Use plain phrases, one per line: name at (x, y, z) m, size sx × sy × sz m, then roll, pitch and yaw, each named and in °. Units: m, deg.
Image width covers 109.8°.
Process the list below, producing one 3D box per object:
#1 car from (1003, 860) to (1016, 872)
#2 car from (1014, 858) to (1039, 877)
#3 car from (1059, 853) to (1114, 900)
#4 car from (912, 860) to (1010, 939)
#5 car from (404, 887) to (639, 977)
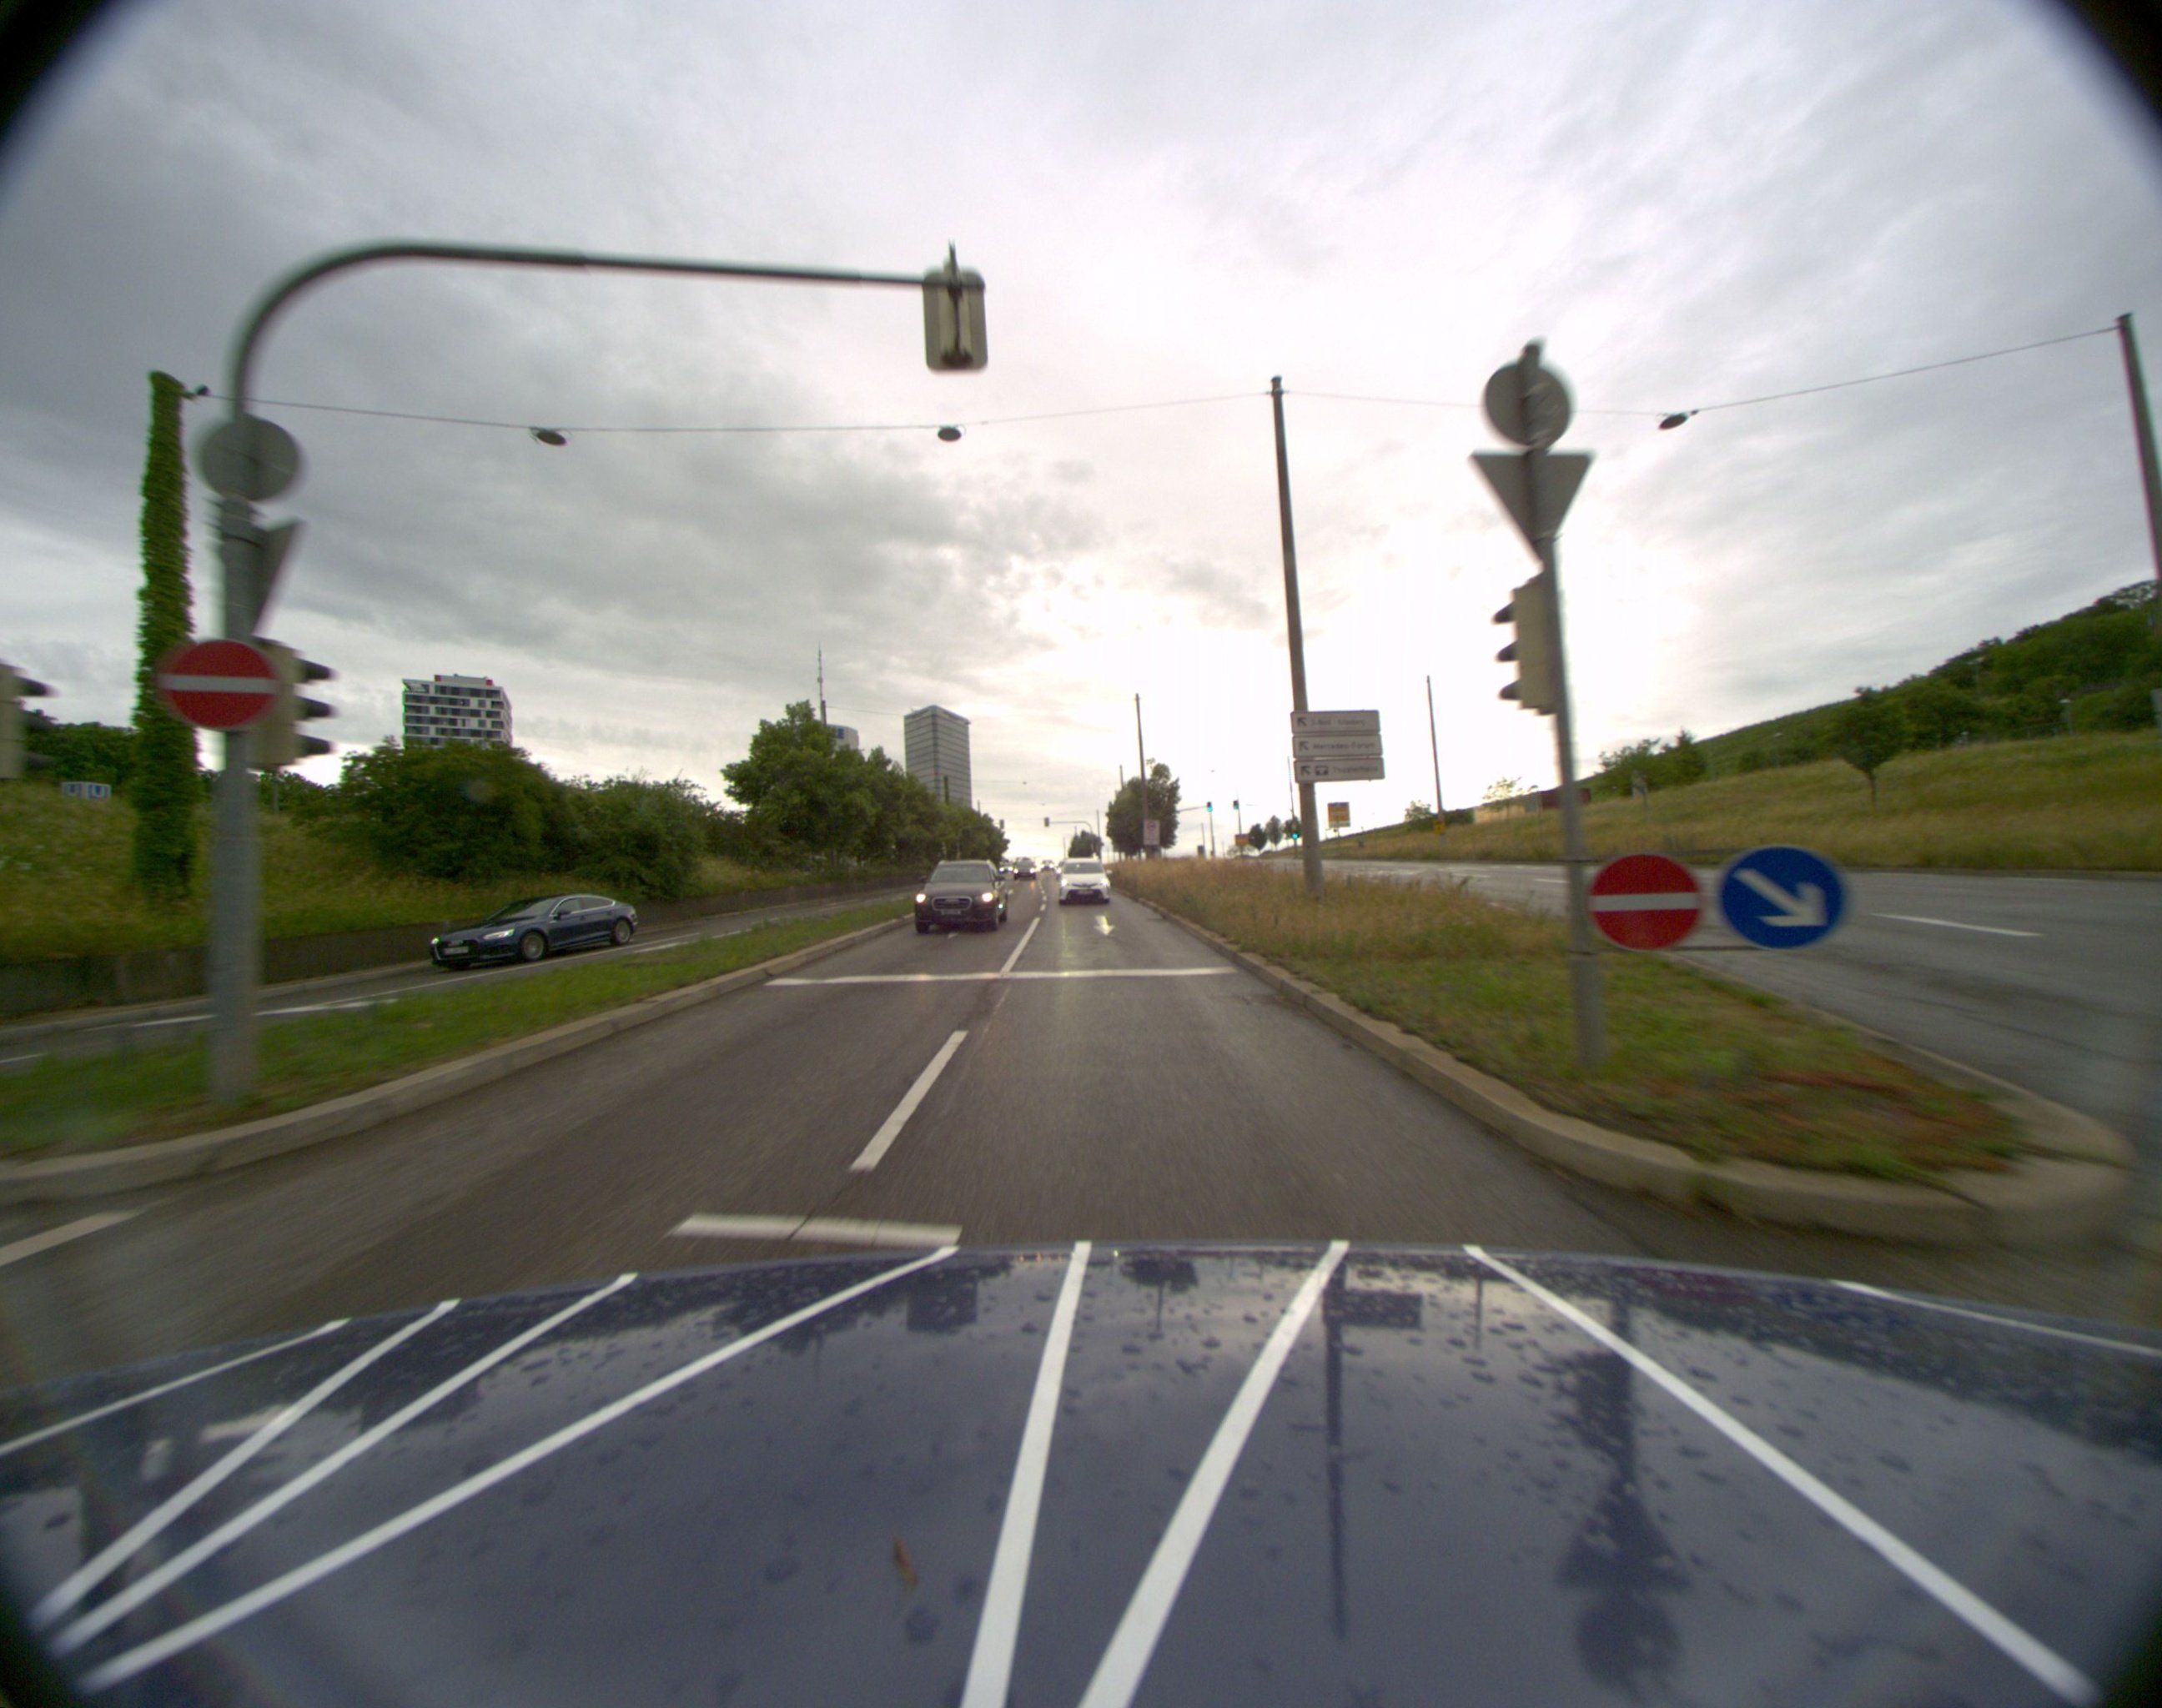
car at (-9.947, 1.685, 105.701) m, size 1.636 × 1.466 × 3.676 m, roll -3°, pitch -3°, yaw -8°
car at (-4.306, 1.079, 60.616) m, size 1.730 × 1.463 × 4.264 m, roll -2°, pitch -1°, yaw -1°
car at (0.262, 0.749, 27.367) m, size 1.827 × 1.574 × 4.298 m, roll 0°, pitch 0°, yaw 2°
car at (-2.730, 0.975, 18.139) m, size 1.730 × 1.525 × 4.125 m, roll -3°, pitch 1°, yaw -2°
car at (-12.206, 1.623, 17.036) m, size 1.876 × 1.417 × 4.348 m, roll -3°, pitch 1°, yaw 2°
